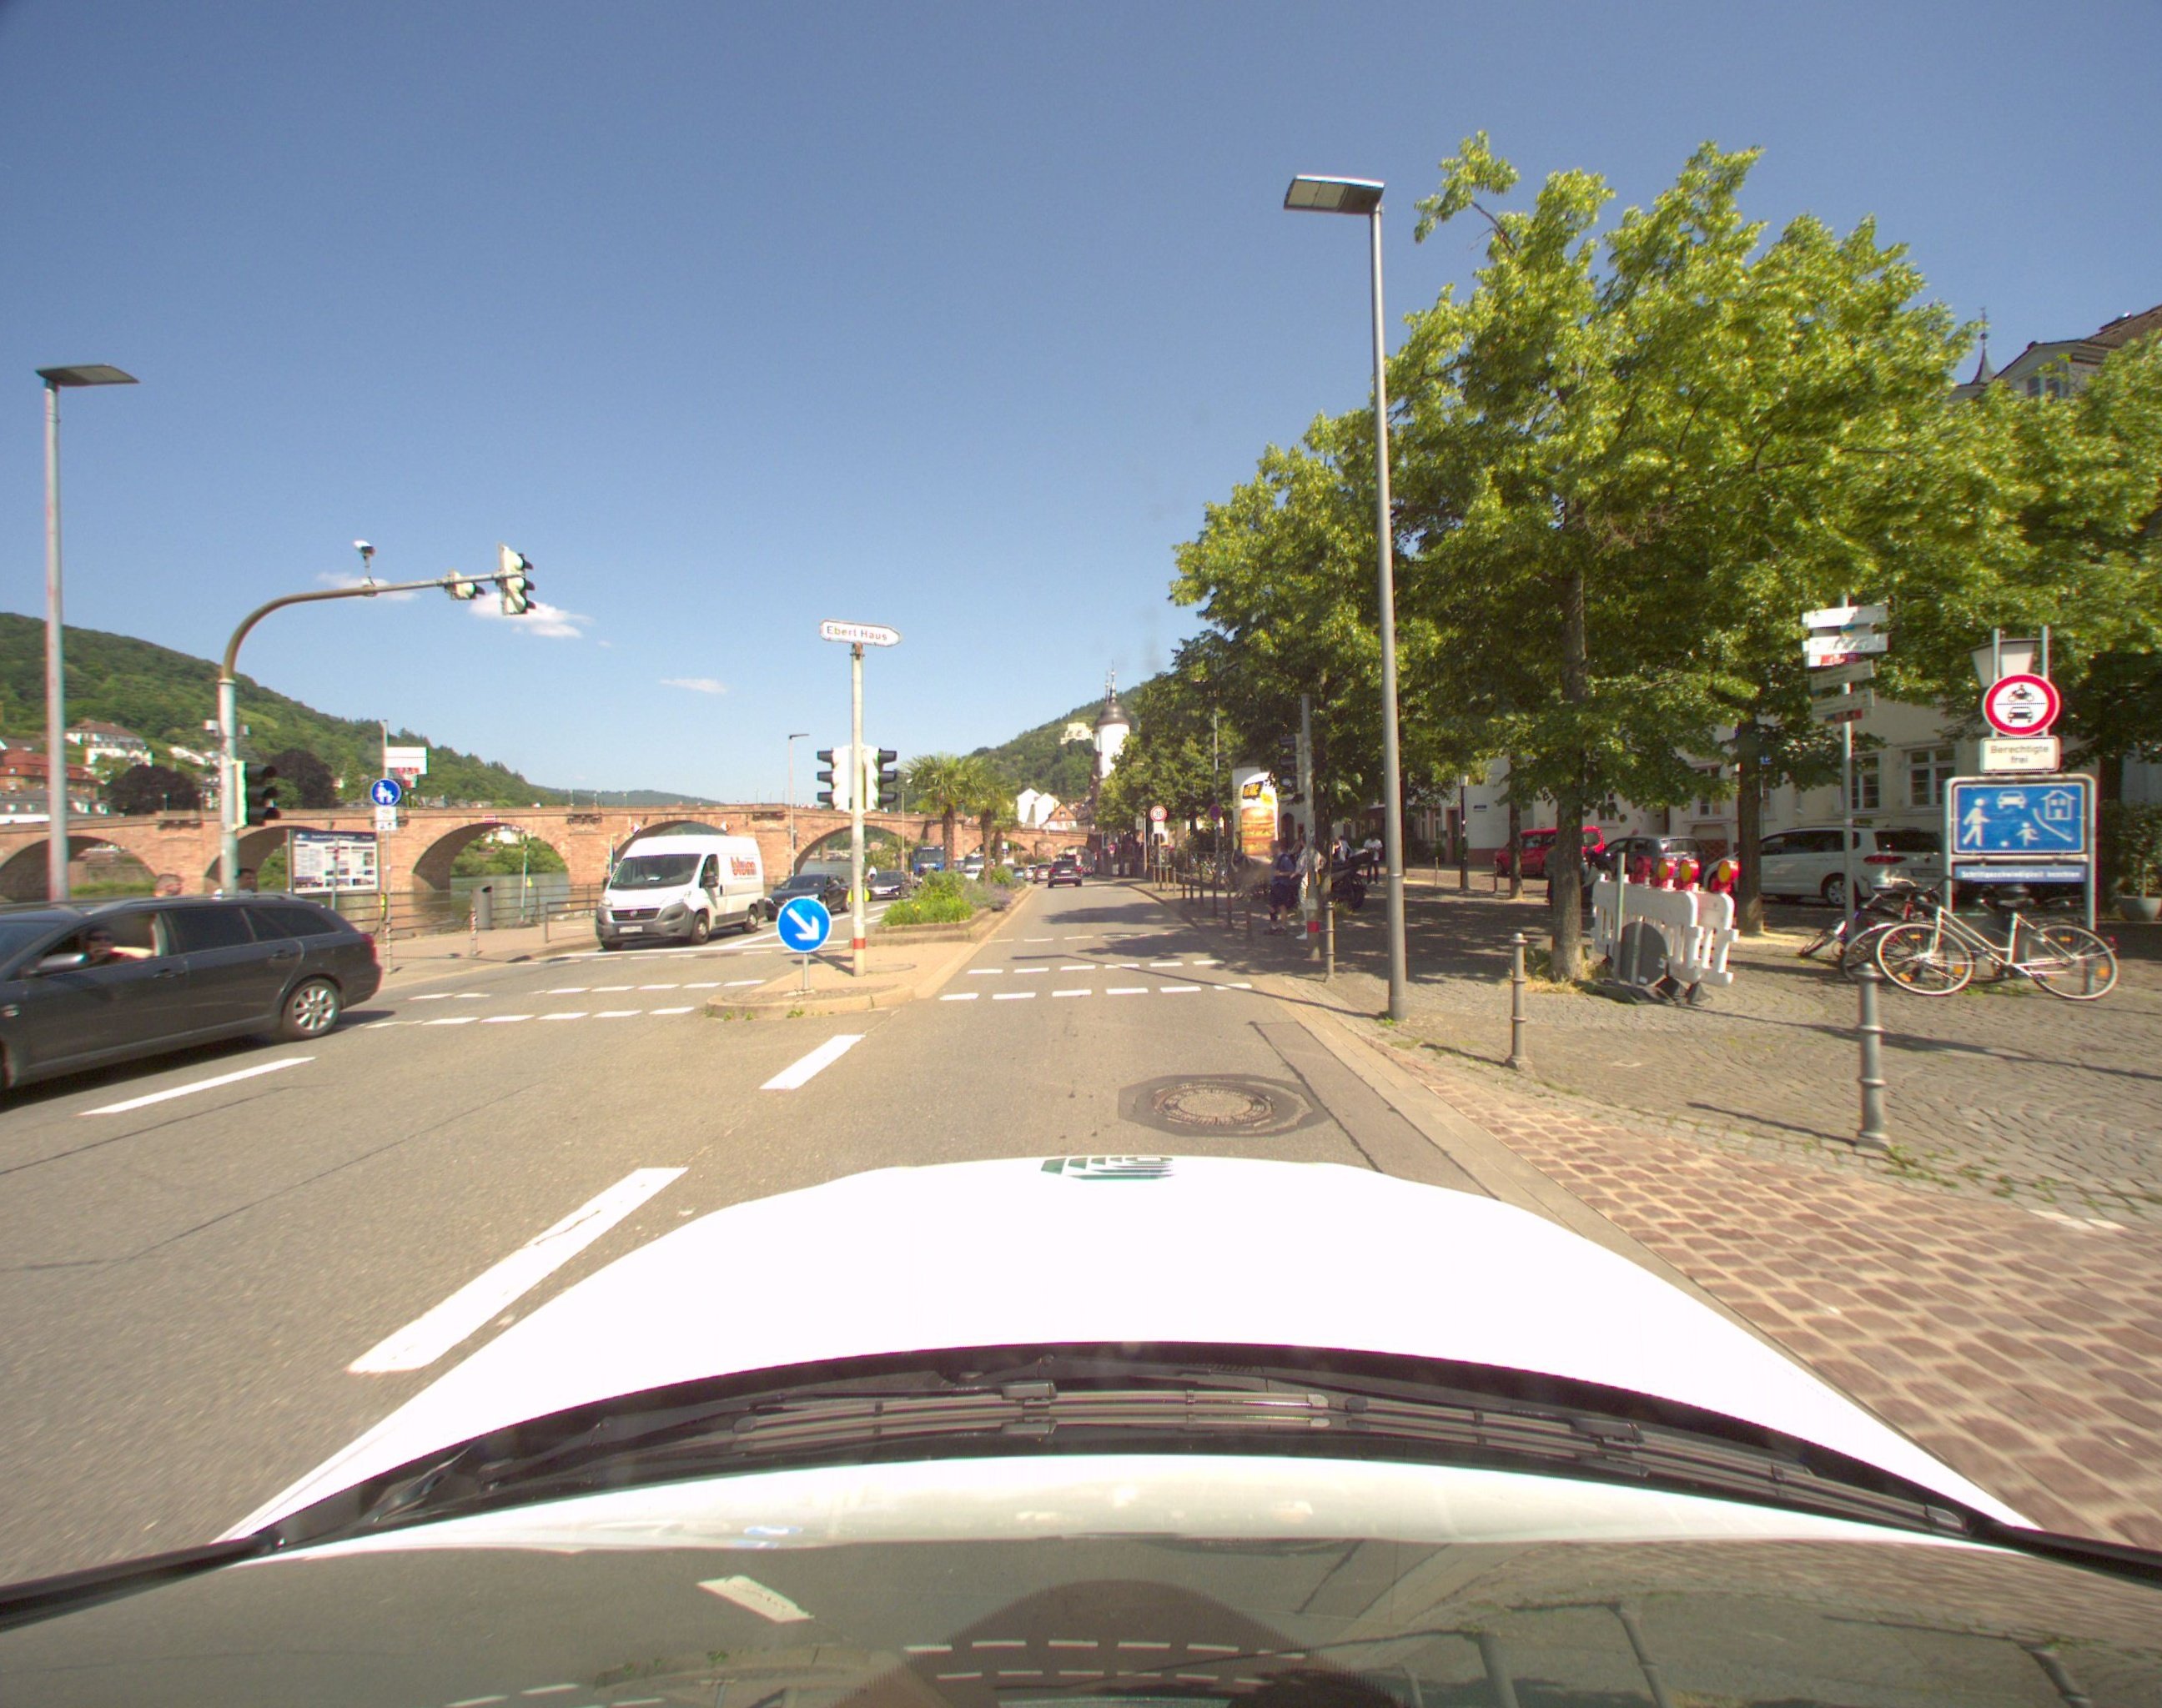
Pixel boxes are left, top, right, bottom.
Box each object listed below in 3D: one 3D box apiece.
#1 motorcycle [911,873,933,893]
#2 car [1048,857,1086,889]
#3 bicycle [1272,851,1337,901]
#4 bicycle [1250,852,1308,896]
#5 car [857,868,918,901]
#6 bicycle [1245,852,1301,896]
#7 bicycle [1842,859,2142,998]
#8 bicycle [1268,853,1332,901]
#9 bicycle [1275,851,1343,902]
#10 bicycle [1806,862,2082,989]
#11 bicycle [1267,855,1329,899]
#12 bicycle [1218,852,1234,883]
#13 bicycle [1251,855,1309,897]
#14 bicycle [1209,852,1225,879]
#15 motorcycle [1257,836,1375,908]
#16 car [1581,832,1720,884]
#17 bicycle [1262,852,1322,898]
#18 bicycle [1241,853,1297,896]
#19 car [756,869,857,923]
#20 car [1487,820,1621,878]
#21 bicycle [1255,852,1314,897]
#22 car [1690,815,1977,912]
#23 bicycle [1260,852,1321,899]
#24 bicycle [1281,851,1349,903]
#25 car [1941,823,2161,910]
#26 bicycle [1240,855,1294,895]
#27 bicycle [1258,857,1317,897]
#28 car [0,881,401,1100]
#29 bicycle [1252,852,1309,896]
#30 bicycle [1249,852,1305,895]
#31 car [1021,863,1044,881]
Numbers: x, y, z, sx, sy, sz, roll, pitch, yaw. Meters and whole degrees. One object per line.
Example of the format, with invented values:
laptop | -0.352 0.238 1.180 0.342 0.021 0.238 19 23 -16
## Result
motorcycle | -9.726 1.744 49.915 0.754 1.131 2.457 -1 0 2
car | -0.801 1.005 45.529 1.921 1.553 4.829 -2 1 -2
bicycle | 5.421 0.533 19.776 1.482 1.120 0.293 -3 0 -7
bicycle | 5.385 0.549 22.173 1.482 1.120 0.250 -3 0 -7
car | -9.623 1.490 40.820 1.946 1.413 4.218 -4 -1 0
bicycle | 5.399 0.547 22.871 1.482 1.120 0.250 -4 0 -7
bicycle | 8.579 0.672 7.738 1.986 1.198 0.523 1 1 10
bicycle | 5.394 0.560 20.073 1.482 1.120 0.293 -3 0 -7
bicycle | 5.388 0.532 19.278 1.482 1.120 0.377 -3 0 -7
bicycle | 8.659 0.687 8.243 1.999 1.198 0.523 0 1 10
bicycle | 5.506 0.584 20.660 1.482 1.031 0.293 -3 0 -7
bicycle | 5.283 0.476 29.691 0.249 1.120 1.487 -2 0 -3
bicycle | 5.361 0.581 21.925 1.482 1.047 0.250 -3 0 -7
bicycle | 5.202 0.447 31.229 0.249 1.010 1.487 -2 0 -3
motorcycle | 5.032 0.408 17.540 2.269 1.465 0.769 -3 -1 40
car | 17.218 0.126 24.810 1.671 1.432 3.467 -1 0 -4
bicycle | 5.478 0.544 21.171 1.482 1.120 0.250 -3 0 -7
bicycle | 5.346 0.570 23.147 1.482 1.120 0.250 -4 0 -7
car | -9.202 1.343 27.776 1.814 1.455 4.926 -3 0 -1
car | 17.098 -0.184 29.747 1.989 1.902 4.628 -1 1 -3
bicycle | 5.417 0.540 21.685 1.482 1.120 0.250 -3 0 -7
car | 15.520 0.153 17.217 1.764 1.728 4.565 -1 1 -2
bicycle | 5.372 0.540 20.897 1.482 1.120 0.250 -3 0 -7
bicycle | 5.424 0.534 18.896 1.480 1.120 0.294 -3 0 -4
car | 19.585 0.206 16.028 3.733 1.432 1.620 -4 0 -4
bicycle | 5.354 0.603 23.446 1.482 1.120 0.250 -2 0 -7
bicycle | 5.432 0.608 21.439 1.482 0.979 0.250 -3 0 -7
car | -8.609 1.080 6.834 1.947 1.409 4.567 -4 0 -2
bicycle | 5.485 0.544 22.435 1.482 1.120 0.250 -3 0 -7
bicycle | 5.444 0.542 22.652 1.482 1.120 0.250 -3 0 -7
car | -4.657 1.714 78.565 1.988 1.553 4.830 -1 1 -1
